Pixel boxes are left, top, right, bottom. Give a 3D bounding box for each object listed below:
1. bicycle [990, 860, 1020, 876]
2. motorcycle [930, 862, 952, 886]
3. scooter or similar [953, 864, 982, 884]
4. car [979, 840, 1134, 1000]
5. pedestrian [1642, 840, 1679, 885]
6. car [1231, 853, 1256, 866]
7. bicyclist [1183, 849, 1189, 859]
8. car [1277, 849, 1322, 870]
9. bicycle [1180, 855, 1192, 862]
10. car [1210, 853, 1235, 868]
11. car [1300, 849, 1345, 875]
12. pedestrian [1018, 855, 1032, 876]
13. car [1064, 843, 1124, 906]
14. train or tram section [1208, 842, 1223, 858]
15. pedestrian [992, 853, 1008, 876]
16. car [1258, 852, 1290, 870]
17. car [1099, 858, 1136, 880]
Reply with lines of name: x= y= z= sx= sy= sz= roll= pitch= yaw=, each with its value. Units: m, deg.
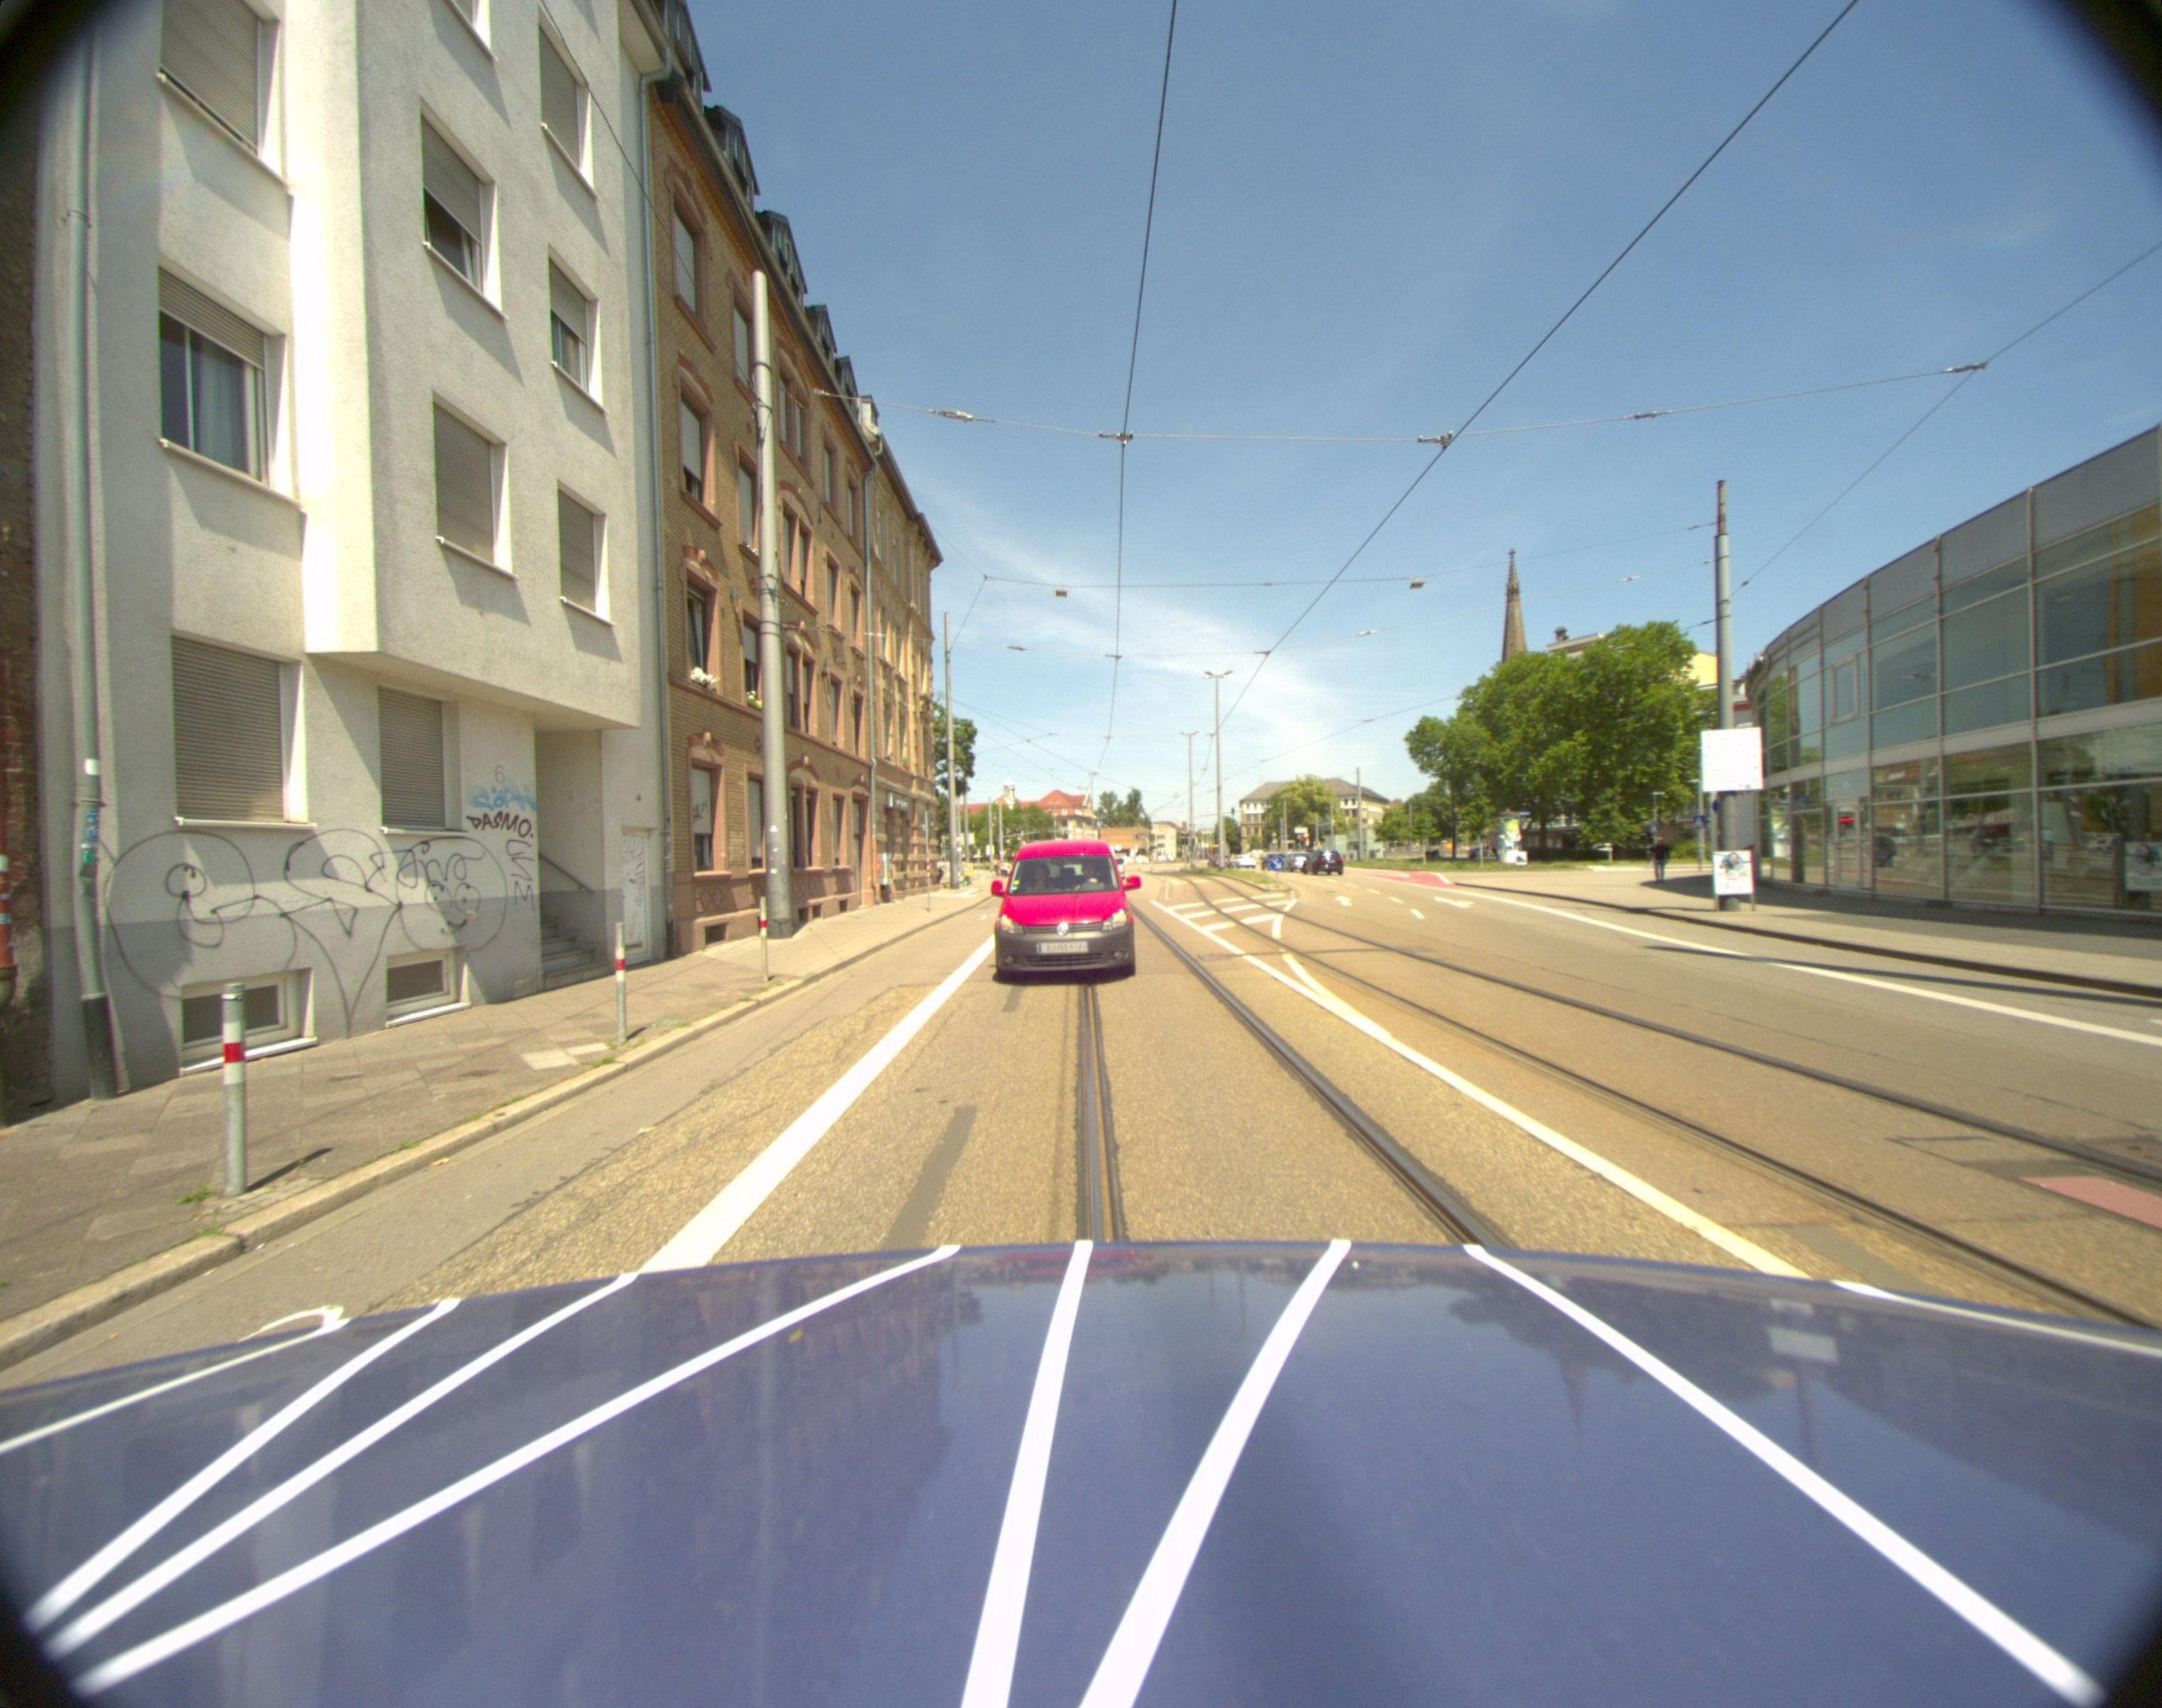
bicycle: x=-6.078 y=1.129 z=60.815 sx=2.225 sy=1.243 sz=1.096 roll=-2 pitch=0 yaw=-44
motorcycle: x=-8.390 y=1.171 z=45.611 sx=0.765 sy=1.354 sz=2.596 roll=-2 pitch=1 yaw=1
scooter or similar: x=-6.741 y=1.180 z=45.306 sx=1.527 sy=1.149 sz=0.713 roll=-2 pitch=0 yaw=-28
car: x=-0.217 y=0.767 z=10.865 sx=1.755 sy=1.802 sz=4.098 roll=-2 pitch=0 yaw=2
pedestrian: x=21.503 y=0.325 z=28.195 sx=0.729 sy=1.632 sz=0.820 roll=-1 pitch=0 yaw=4
car: x=16.707 y=0.576 z=78.392 sx=1.711 sy=1.291 sz=4.203 roll=0 pitch=0 yaw=0
bicyclist: x=17.711 y=0.073 z=128.133 sx=0.813 sy=1.678 sz=0.528 roll=-2 pitch=1 yaw=-4
car: x=16.615 y=0.395 z=58.037 sx=1.998 sy=1.521 sz=5.131 roll=0 pitch=0 yaw=1
bicycle: x=17.728 y=0.752 z=128.066 sx=1.906 sy=0.973 sz=0.528 roll=-2 pitch=0 yaw=-4
car: x=14.114 y=0.638 z=76.137 sx=1.848 sy=1.471 sz=4.331 roll=-1 pitch=0 yaw=2
car: x=15.846 y=0.480 z=50.055 sx=1.826 sy=1.617 sz=4.526 roll=0 pitch=0 yaw=3
pedestrian: x=-4.818 y=1.016 z=65.337 sx=0.808 sy=1.769 sz=0.876 roll=-1 pitch=1 yaw=33
car: x=0.449 y=0.658 z=26.363 sx=1.874 sy=1.954 sz=3.823 roll=-2 pitch=0 yaw=1
train or tram section: x=28.017 y=-0.759 z=157.921 sx=2.840 sy=3.195 sz=9.116 roll=-1 pitch=0 yaw=10
pedestrian: x=-6.443 y=0.843 z=60.385 sx=0.826 sy=1.765 sz=0.812 roll=-3 pitch=2 yaw=-44
car: x=16.320 y=0.564 z=64.414 sx=1.675 sy=1.453 sz=3.903 roll=-1 pitch=0 yaw=0
car: x=2.373 y=0.942 z=49.857 sx=1.572 sy=1.346 sz=3.455 roll=-2 pitch=0 yaw=-12
